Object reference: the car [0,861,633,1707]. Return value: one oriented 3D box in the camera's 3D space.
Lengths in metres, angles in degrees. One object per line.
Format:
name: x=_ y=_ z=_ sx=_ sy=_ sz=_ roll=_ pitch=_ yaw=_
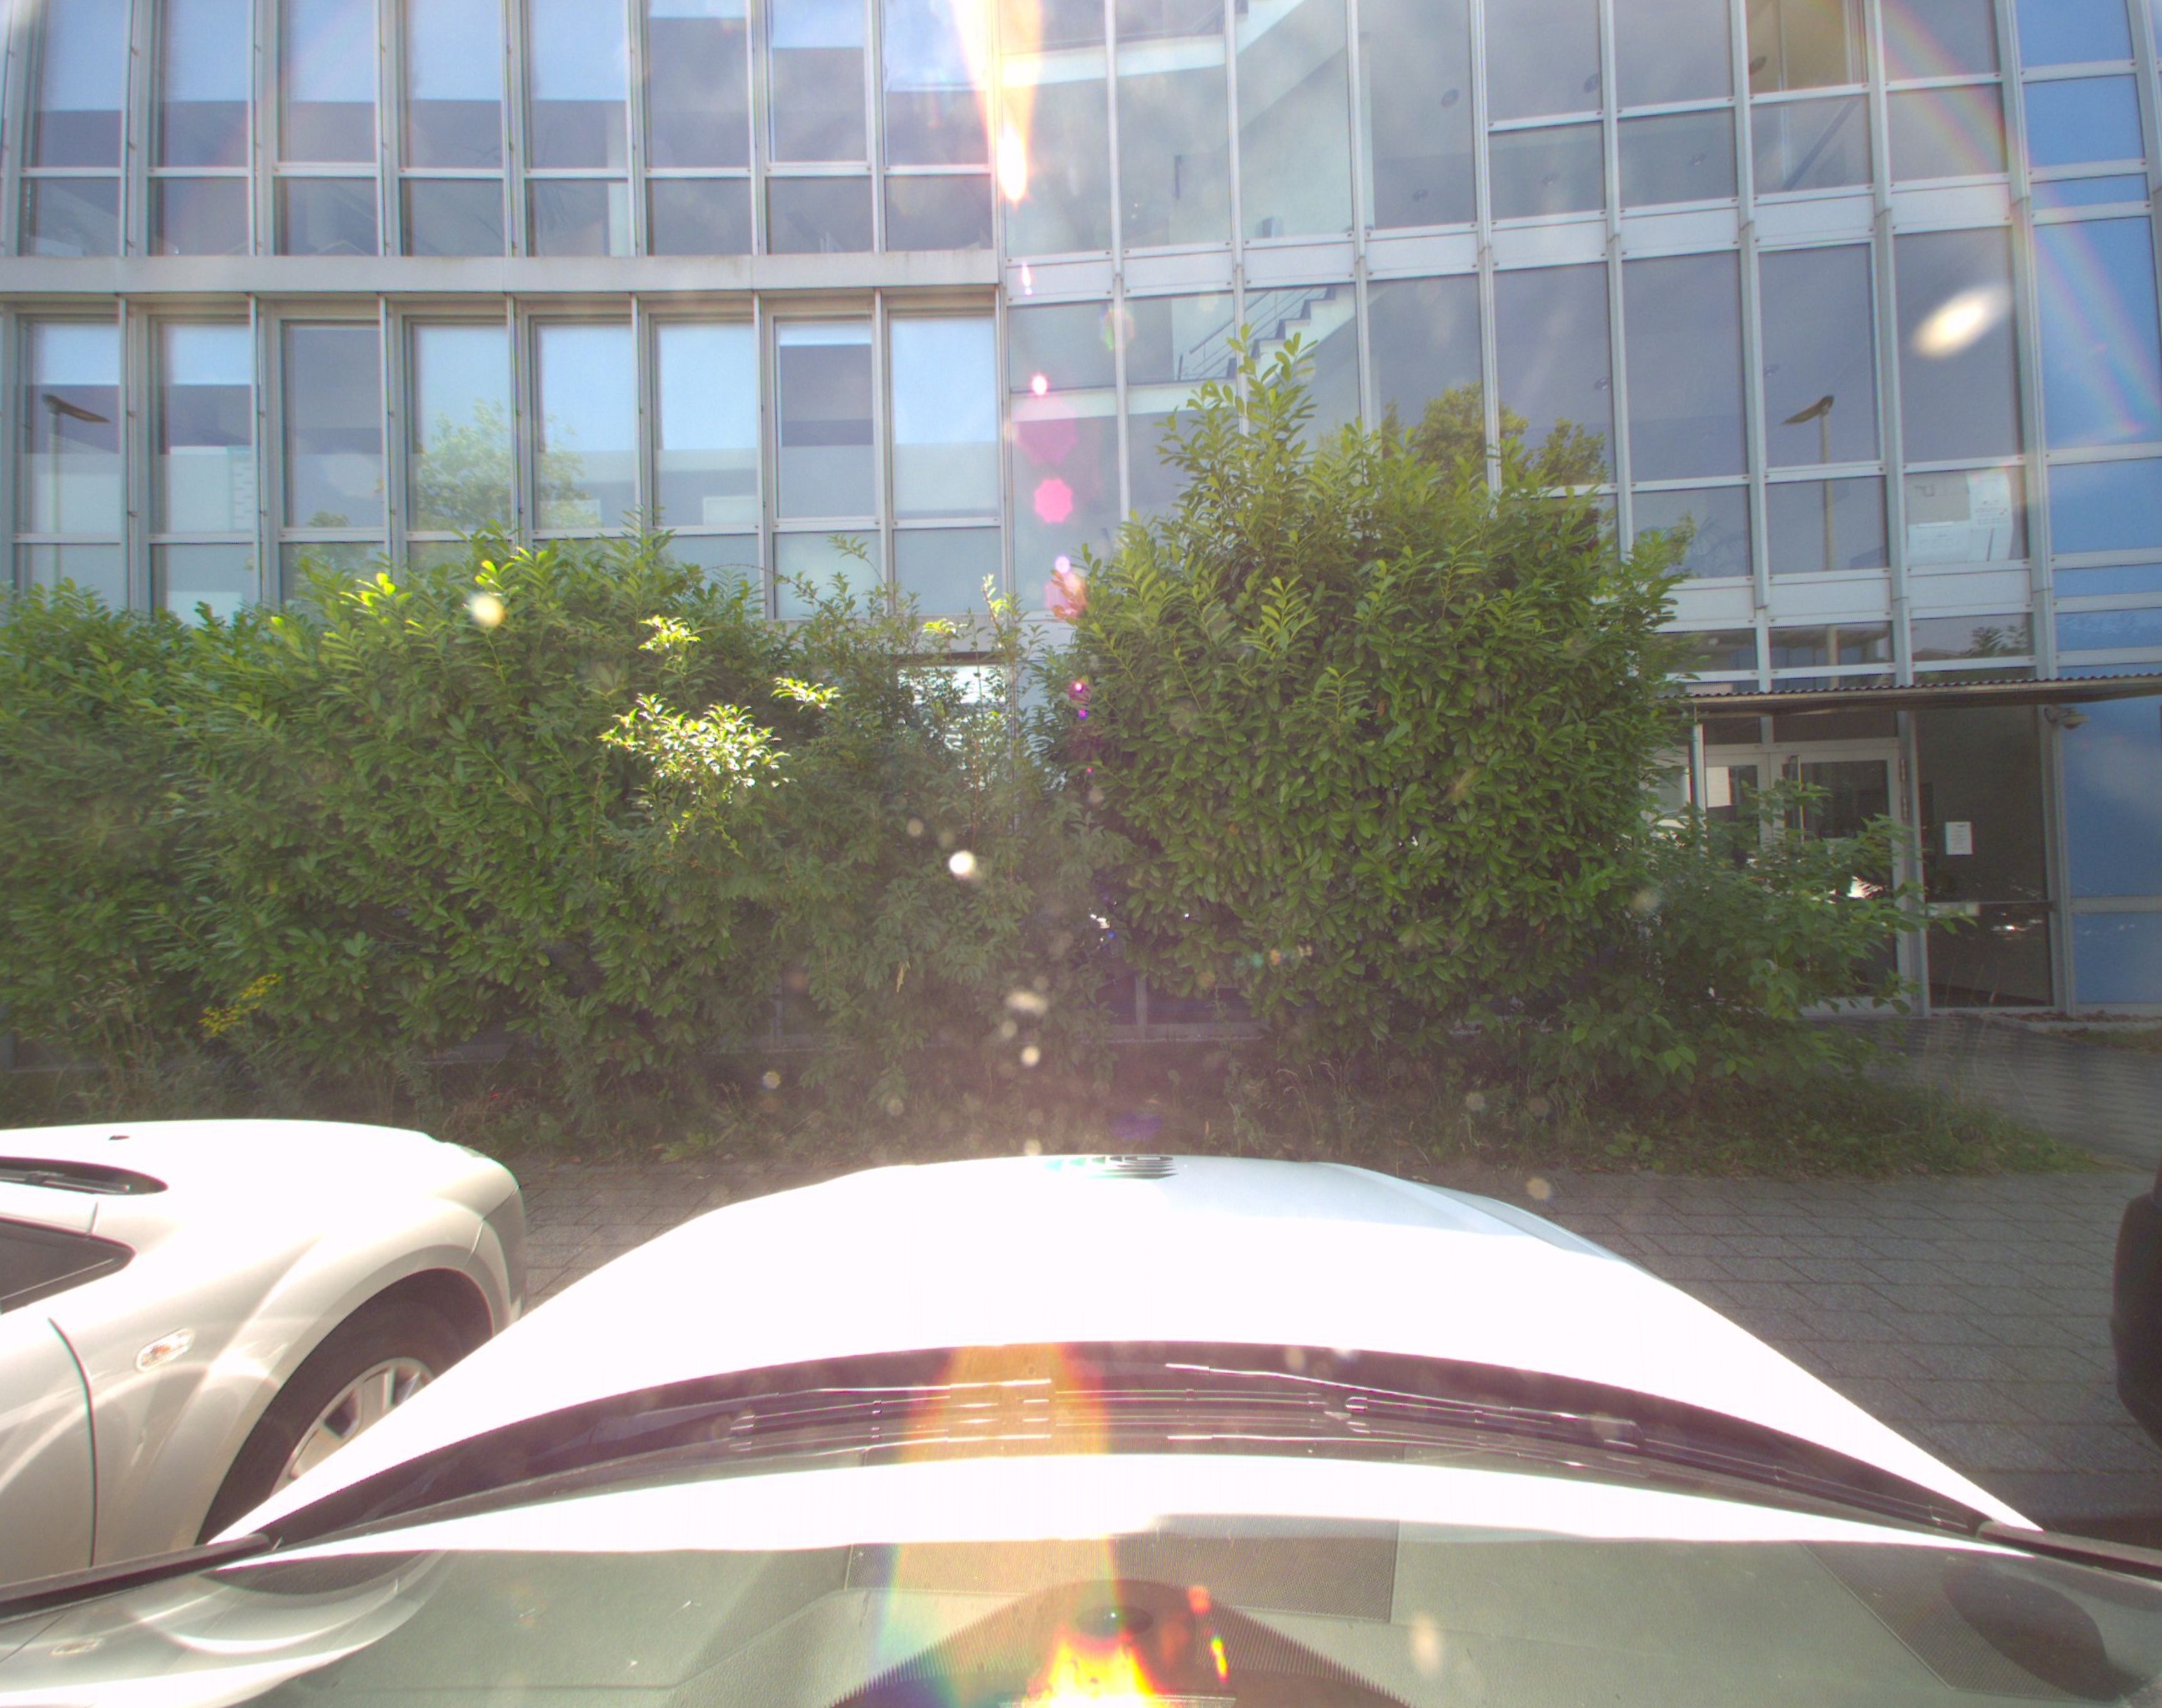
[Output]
car: x=-2.206 y=0.766 z=0.191 sx=1.713 sy=1.479 sz=4.349 roll=-1 pitch=0 yaw=1
